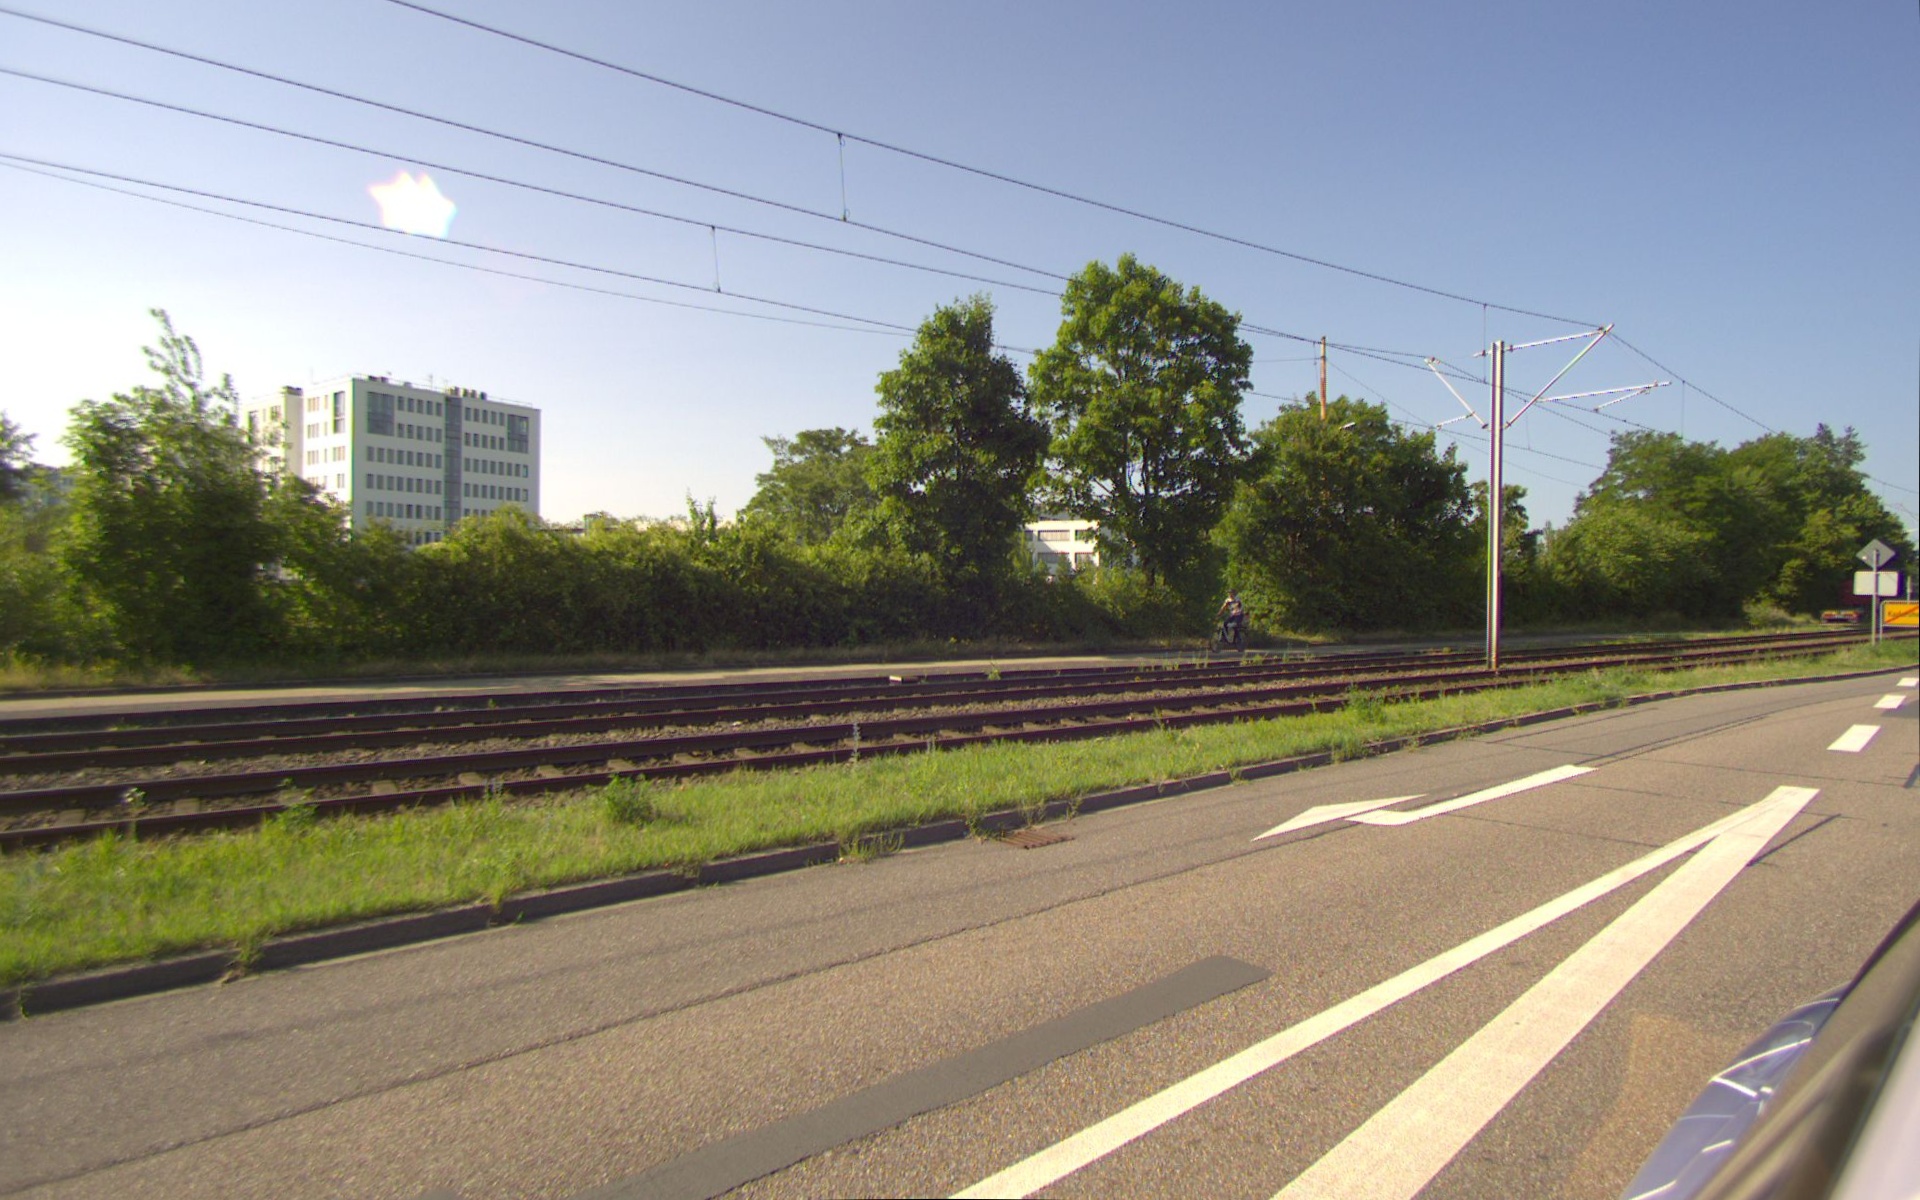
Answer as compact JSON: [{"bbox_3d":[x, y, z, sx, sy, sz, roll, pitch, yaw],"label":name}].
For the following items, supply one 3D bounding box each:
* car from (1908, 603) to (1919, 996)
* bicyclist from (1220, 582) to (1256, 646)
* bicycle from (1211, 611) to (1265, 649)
[{"bbox_3d":[5.751,0.732,4.486,4.383,1.442,1.819,0,0,-41],"label":"car"},{"bbox_3d":[8.108,0.385,29.532,0.705,1.830,0.708,0,0,-39],"label":"bicyclist"},{"bbox_3d":[8.125,0.871,29.549,1.840,1.060,0.547,0,1,-39],"label":"bicycle"}]
